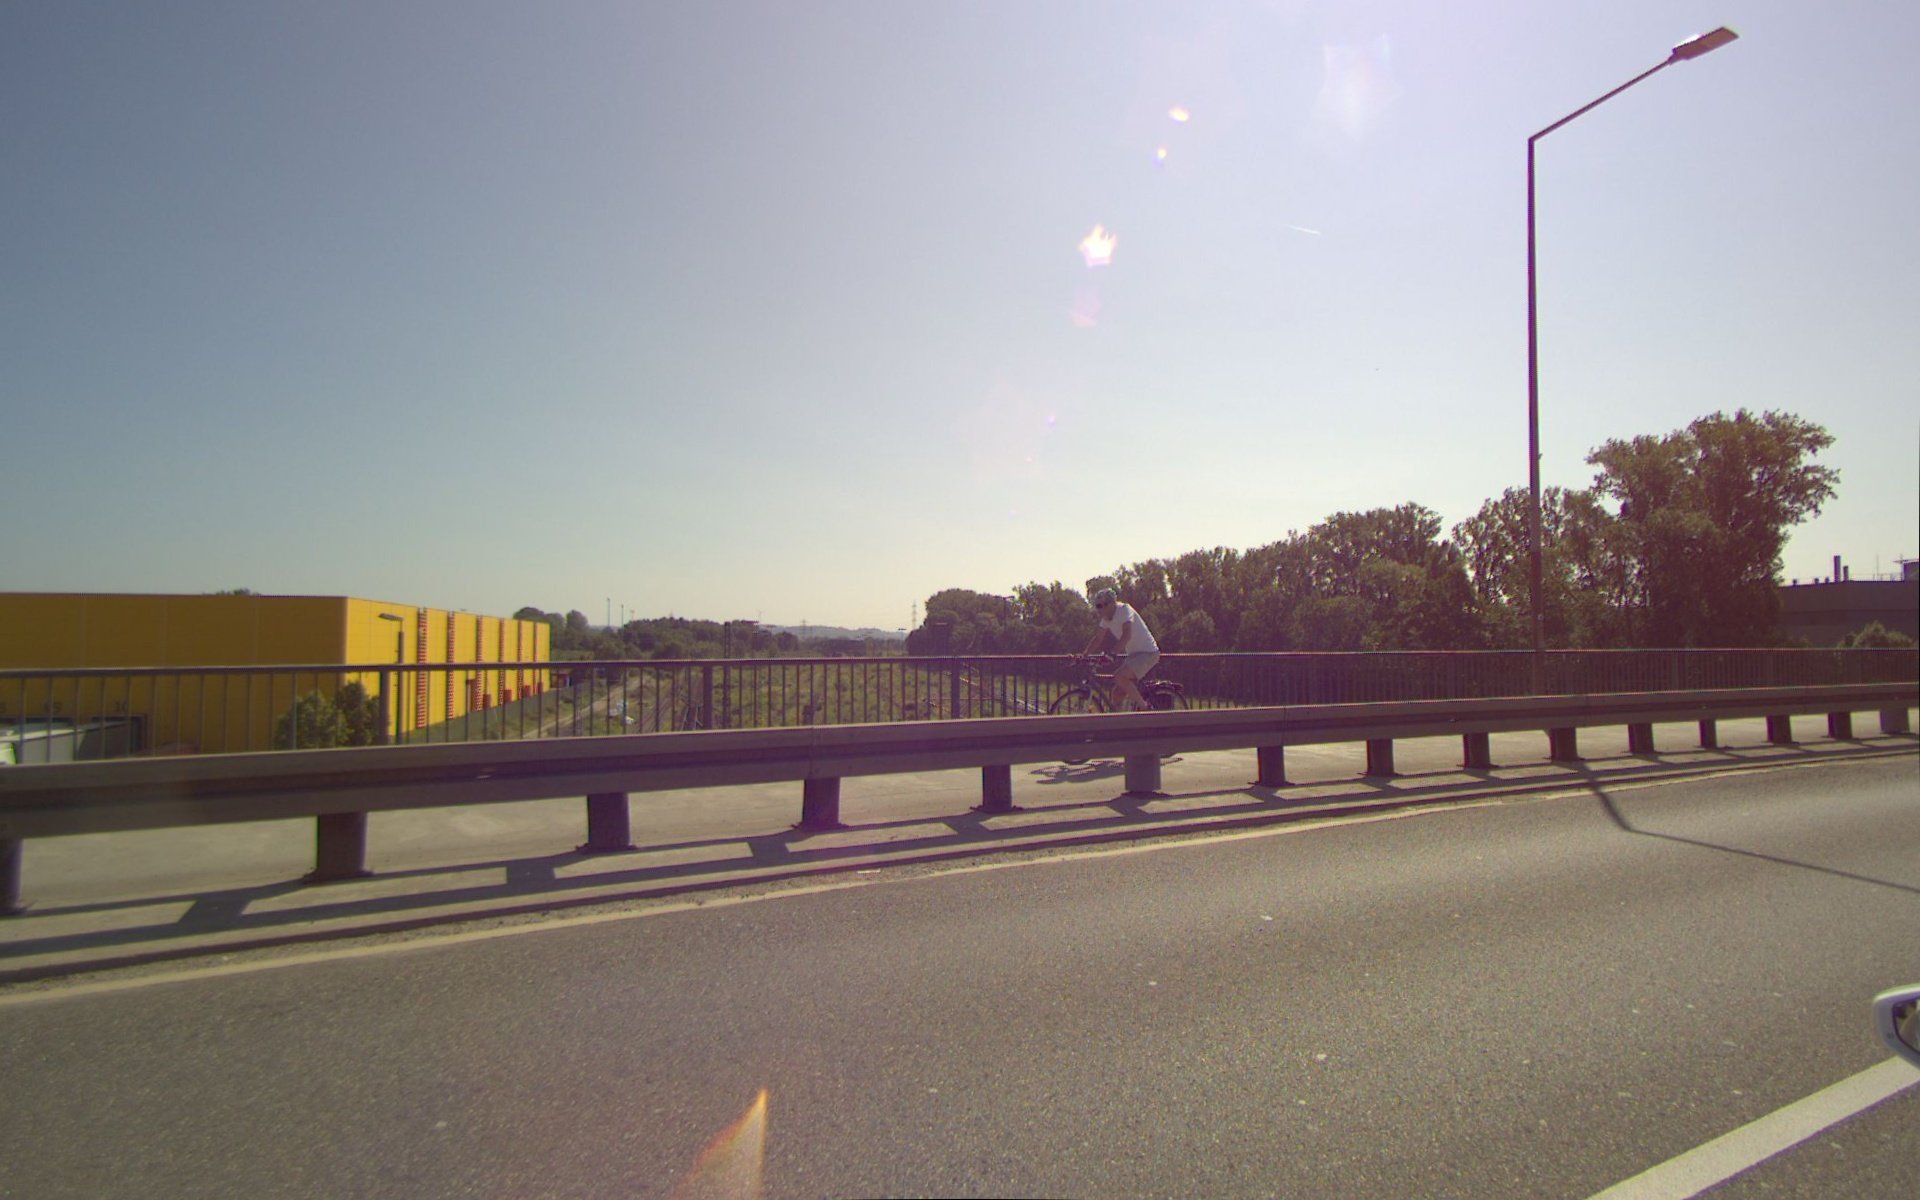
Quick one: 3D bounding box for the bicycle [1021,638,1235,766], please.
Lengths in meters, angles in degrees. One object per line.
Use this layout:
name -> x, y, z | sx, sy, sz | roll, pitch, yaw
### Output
bicycle -> 1.659, 0.969, 9.827 | 2.122, 1.149, 0.610 | 2, -4, -27

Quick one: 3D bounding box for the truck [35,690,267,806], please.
truck -> -55.357, 9.786, 70.048 | 5.878, 5.751, 17.494 | 1, -1, -15

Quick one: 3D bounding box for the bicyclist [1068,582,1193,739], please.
bicyclist -> 1.669, 0.594, 9.857 | 1.064, 1.457, 0.606 | 2, -3, -28

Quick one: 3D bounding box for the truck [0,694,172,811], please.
truck -> -61.589, 9.918, 68.436 | 5.878, 5.751, 17.494 | 1, -1, -15

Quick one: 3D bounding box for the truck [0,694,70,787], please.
truck -> -67.603, 9.707, 66.481 | 5.693, 5.751, 17.494 | 1, -1, -15
